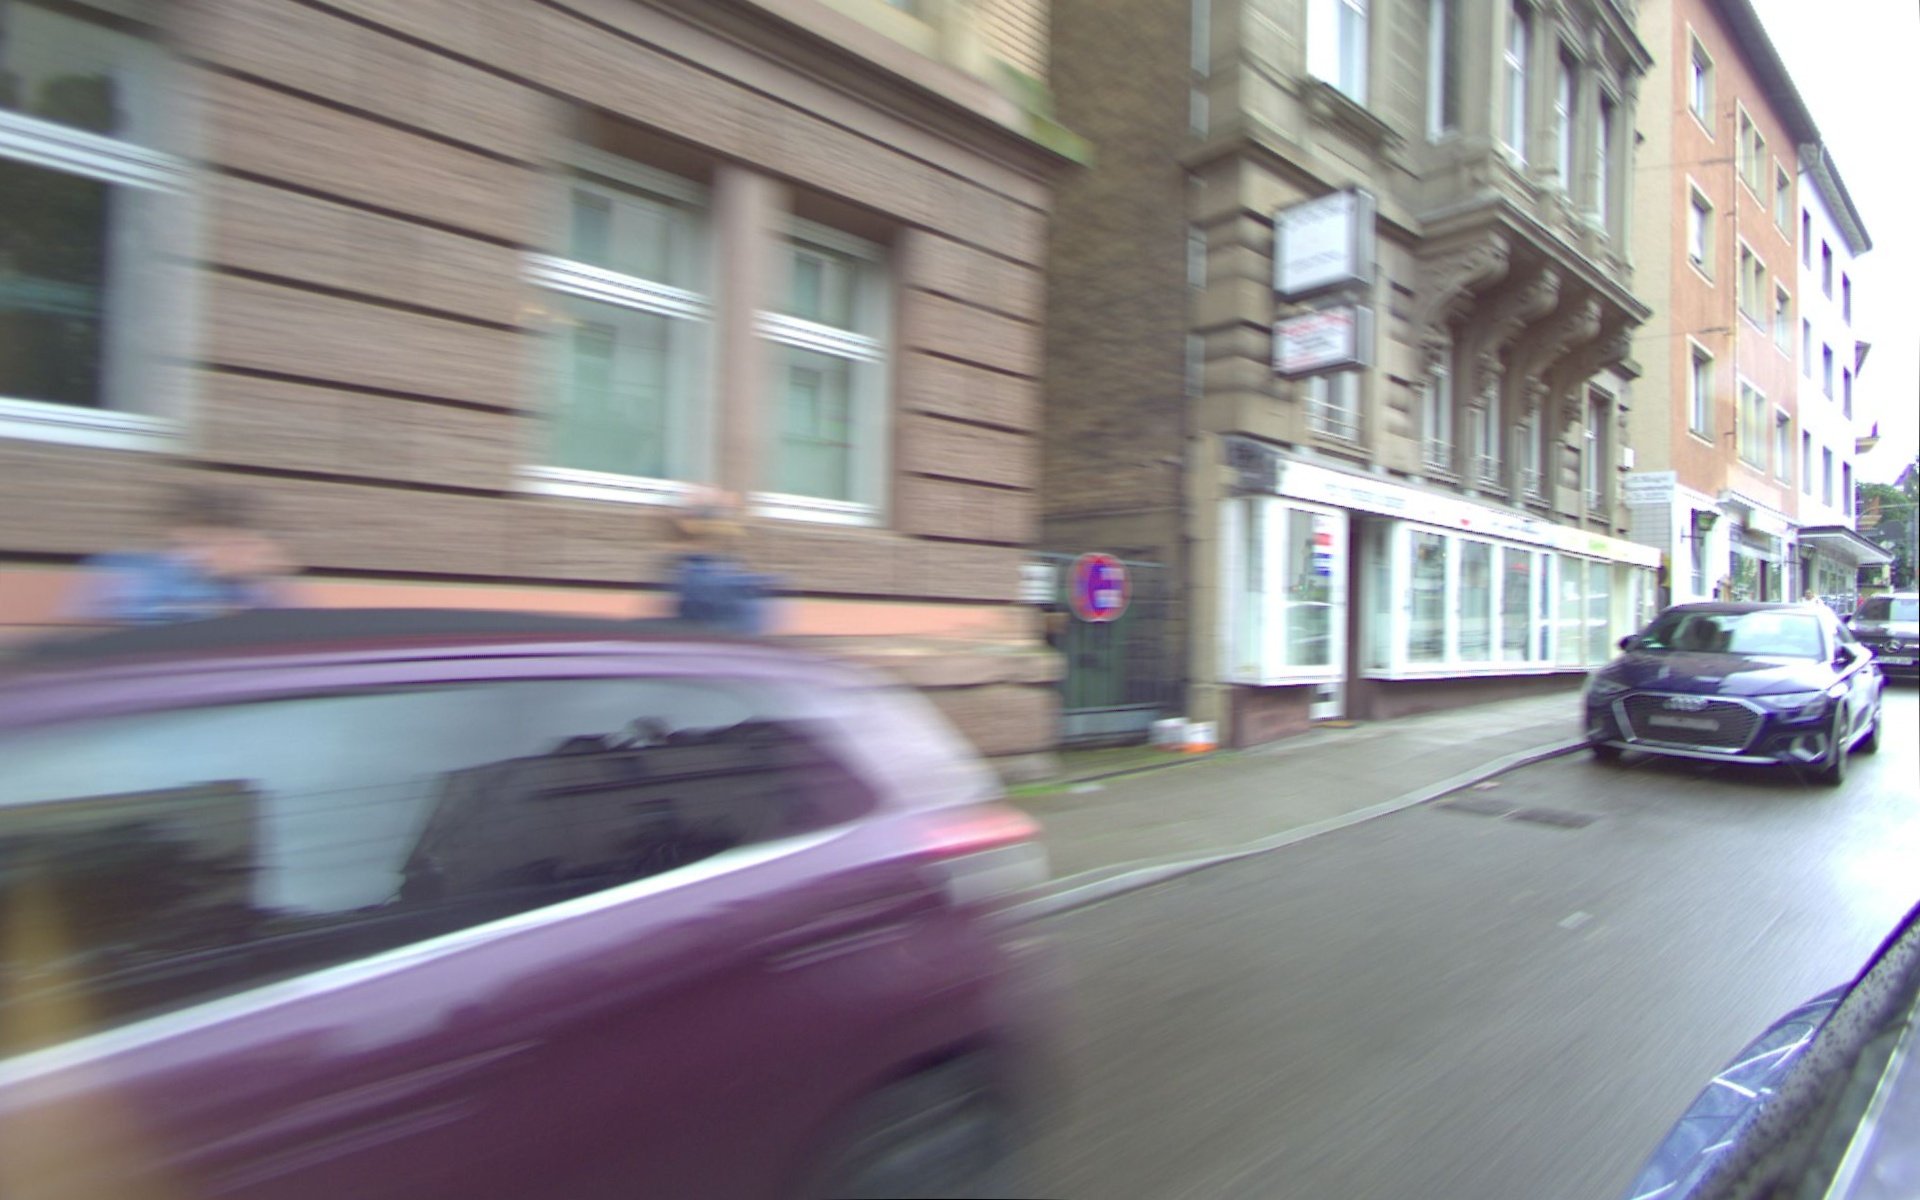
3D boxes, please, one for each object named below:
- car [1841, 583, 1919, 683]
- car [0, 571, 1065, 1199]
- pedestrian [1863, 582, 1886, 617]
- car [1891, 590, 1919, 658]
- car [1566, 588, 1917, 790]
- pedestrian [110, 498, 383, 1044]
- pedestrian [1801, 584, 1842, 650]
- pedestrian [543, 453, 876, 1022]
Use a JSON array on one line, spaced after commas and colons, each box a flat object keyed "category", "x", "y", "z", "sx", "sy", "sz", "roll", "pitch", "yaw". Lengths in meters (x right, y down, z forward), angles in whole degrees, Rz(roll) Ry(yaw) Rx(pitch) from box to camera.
[{"category": "car", "x": 17.930, "y": 0.533, "z": 18.730, "sx": 4.507, "sy": 1.653, "sz": 1.848, "roll": -2, "pitch": 1, "yaw": -41}, {"category": "car", "x": -1.590, "y": 0.699, "z": 1.694, "sx": 3.416, "sy": 1.478, "sz": 1.652, "roll": 0, "pitch": 1, "yaw": -41}, {"category": "pedestrian", "x": 47.978, "y": -0.026, "z": 53.078, "sx": 0.745, "sy": 1.785, "sz": 0.807, "roll": 4, "pitch": 3, "yaw": 38}, {"category": "car", "x": 23.110, "y": 0.555, "z": 23.425, "sx": 4.506, "sy": 1.474, "sz": 1.805, "roll": 1, "pitch": 1, "yaw": -41}, {"category": "car", "x": 7.379, "y": 0.636, "z": 9.396, "sx": 4.183, "sy": 1.424, "sz": 1.794, "roll": -1, "pitch": 0, "yaw": -41}, {"category": "pedestrian", "x": -2.359, "y": 0.484, "z": 3.357, "sx": 0.666, "sy": 1.598, "sz": 0.520, "roll": -2, "pitch": 3, "yaw": -41}, {"category": "pedestrian", "x": 21.460, "y": 0.424, "z": 25.230, "sx": 0.686, "sy": 1.592, "sz": 0.752, "roll": 2, "pitch": -1, "yaw": 38}, {"category": "pedestrian", "x": -0.946, "y": 0.440, "z": 3.851, "sx": 0.944, "sy": 1.842, "sz": 0.704, "roll": 2, "pitch": 1, "yaw": -41}]
